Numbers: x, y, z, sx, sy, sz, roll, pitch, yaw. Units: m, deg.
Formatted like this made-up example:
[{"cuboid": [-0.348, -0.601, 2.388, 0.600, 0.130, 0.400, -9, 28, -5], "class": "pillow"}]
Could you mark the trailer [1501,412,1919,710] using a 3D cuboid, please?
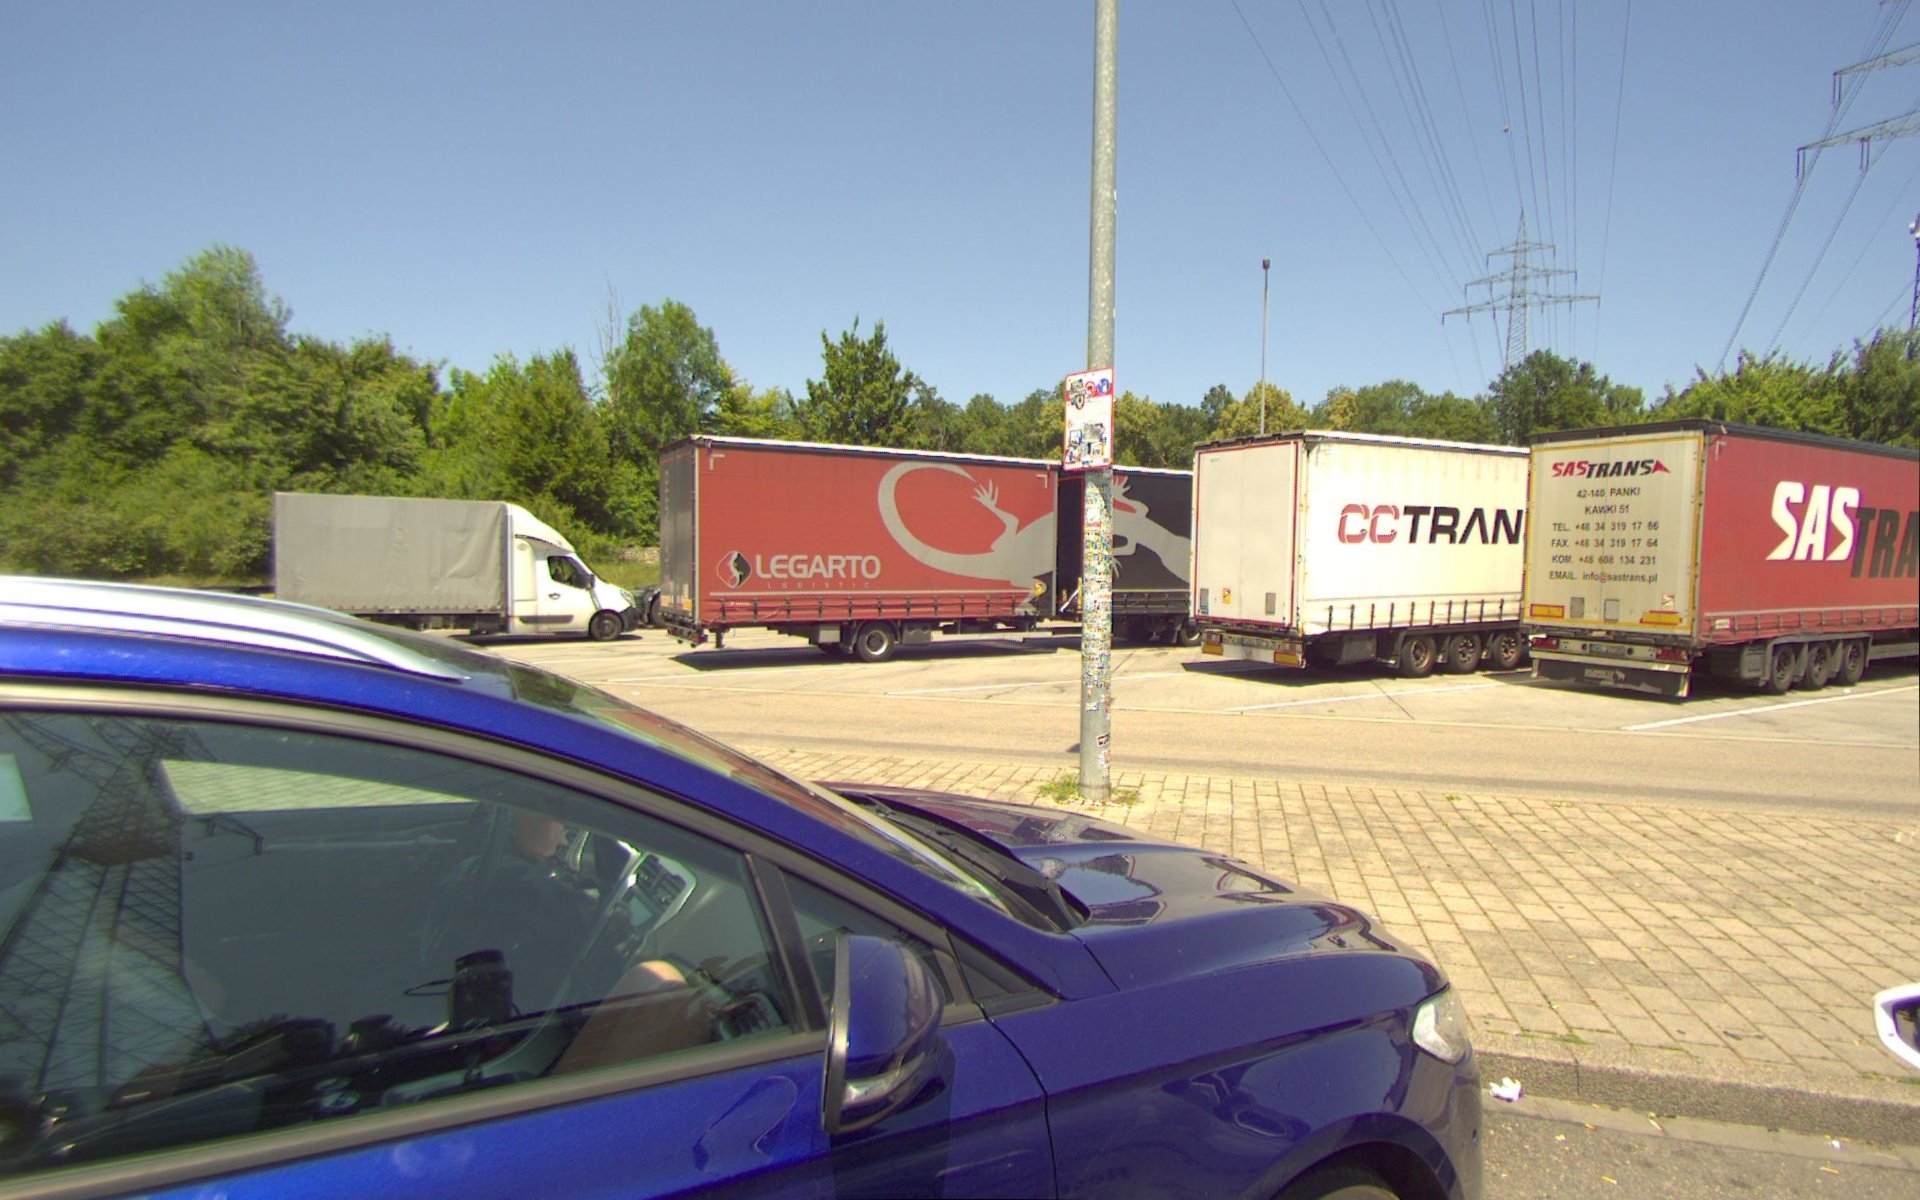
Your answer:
[{"cuboid": [15.596, -0.693, 18.720, 13.962, 4.141, 2.777, -1, 3, -30], "class": "trailer"}]

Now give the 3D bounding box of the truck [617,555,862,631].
[{"cuboid": [-6.356, -0.228, 29.271, 6.733, 2.041, 1.987, -1, 1, -26], "class": "truck"}]

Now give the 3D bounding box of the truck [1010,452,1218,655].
[{"cuboid": [3.560, -1.066, 23.446, 3.947, 4.298, 2.723, -1, 3, -30], "class": "truck"}]

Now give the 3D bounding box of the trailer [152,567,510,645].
[{"cuboid": [-15.174, 0.058, 24.892, 7.204, 1.711, 2.249, -1, 3, -29], "class": "trailer"}]

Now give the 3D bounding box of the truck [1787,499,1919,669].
[{"cuboid": [21.199, -0.394, 21.996, 5.829, 3.373, 2.837, -1, 3, -30], "class": "truck"}]

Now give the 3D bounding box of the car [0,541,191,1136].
[{"cuboid": [-4.625, 0.597, 2.223, 4.444, 1.520, 1.762, 0, 2, -32], "class": "car"}]

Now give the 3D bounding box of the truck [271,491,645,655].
[{"cuboid": [-11.199, -0.623, 23.023, 7.204, 3.279, 2.727, -1, 3, -29], "class": "truck"}]

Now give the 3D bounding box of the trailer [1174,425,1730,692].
[{"cuboid": [10.576, -0.800, 20.331, 13.962, 4.141, 2.782, -1, 3, -30], "class": "trailer"}]

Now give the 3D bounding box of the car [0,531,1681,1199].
[{"cuboid": [-1.049, 0.675, 1.490, 4.444, 1.511, 1.859, 0, 2, -32], "class": "car"}]

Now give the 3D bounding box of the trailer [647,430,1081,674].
[{"cuboid": [-1.753, -0.900, 20.326, 8.376, 4.141, 2.722, -1, 3, -30], "class": "trailer"}]
